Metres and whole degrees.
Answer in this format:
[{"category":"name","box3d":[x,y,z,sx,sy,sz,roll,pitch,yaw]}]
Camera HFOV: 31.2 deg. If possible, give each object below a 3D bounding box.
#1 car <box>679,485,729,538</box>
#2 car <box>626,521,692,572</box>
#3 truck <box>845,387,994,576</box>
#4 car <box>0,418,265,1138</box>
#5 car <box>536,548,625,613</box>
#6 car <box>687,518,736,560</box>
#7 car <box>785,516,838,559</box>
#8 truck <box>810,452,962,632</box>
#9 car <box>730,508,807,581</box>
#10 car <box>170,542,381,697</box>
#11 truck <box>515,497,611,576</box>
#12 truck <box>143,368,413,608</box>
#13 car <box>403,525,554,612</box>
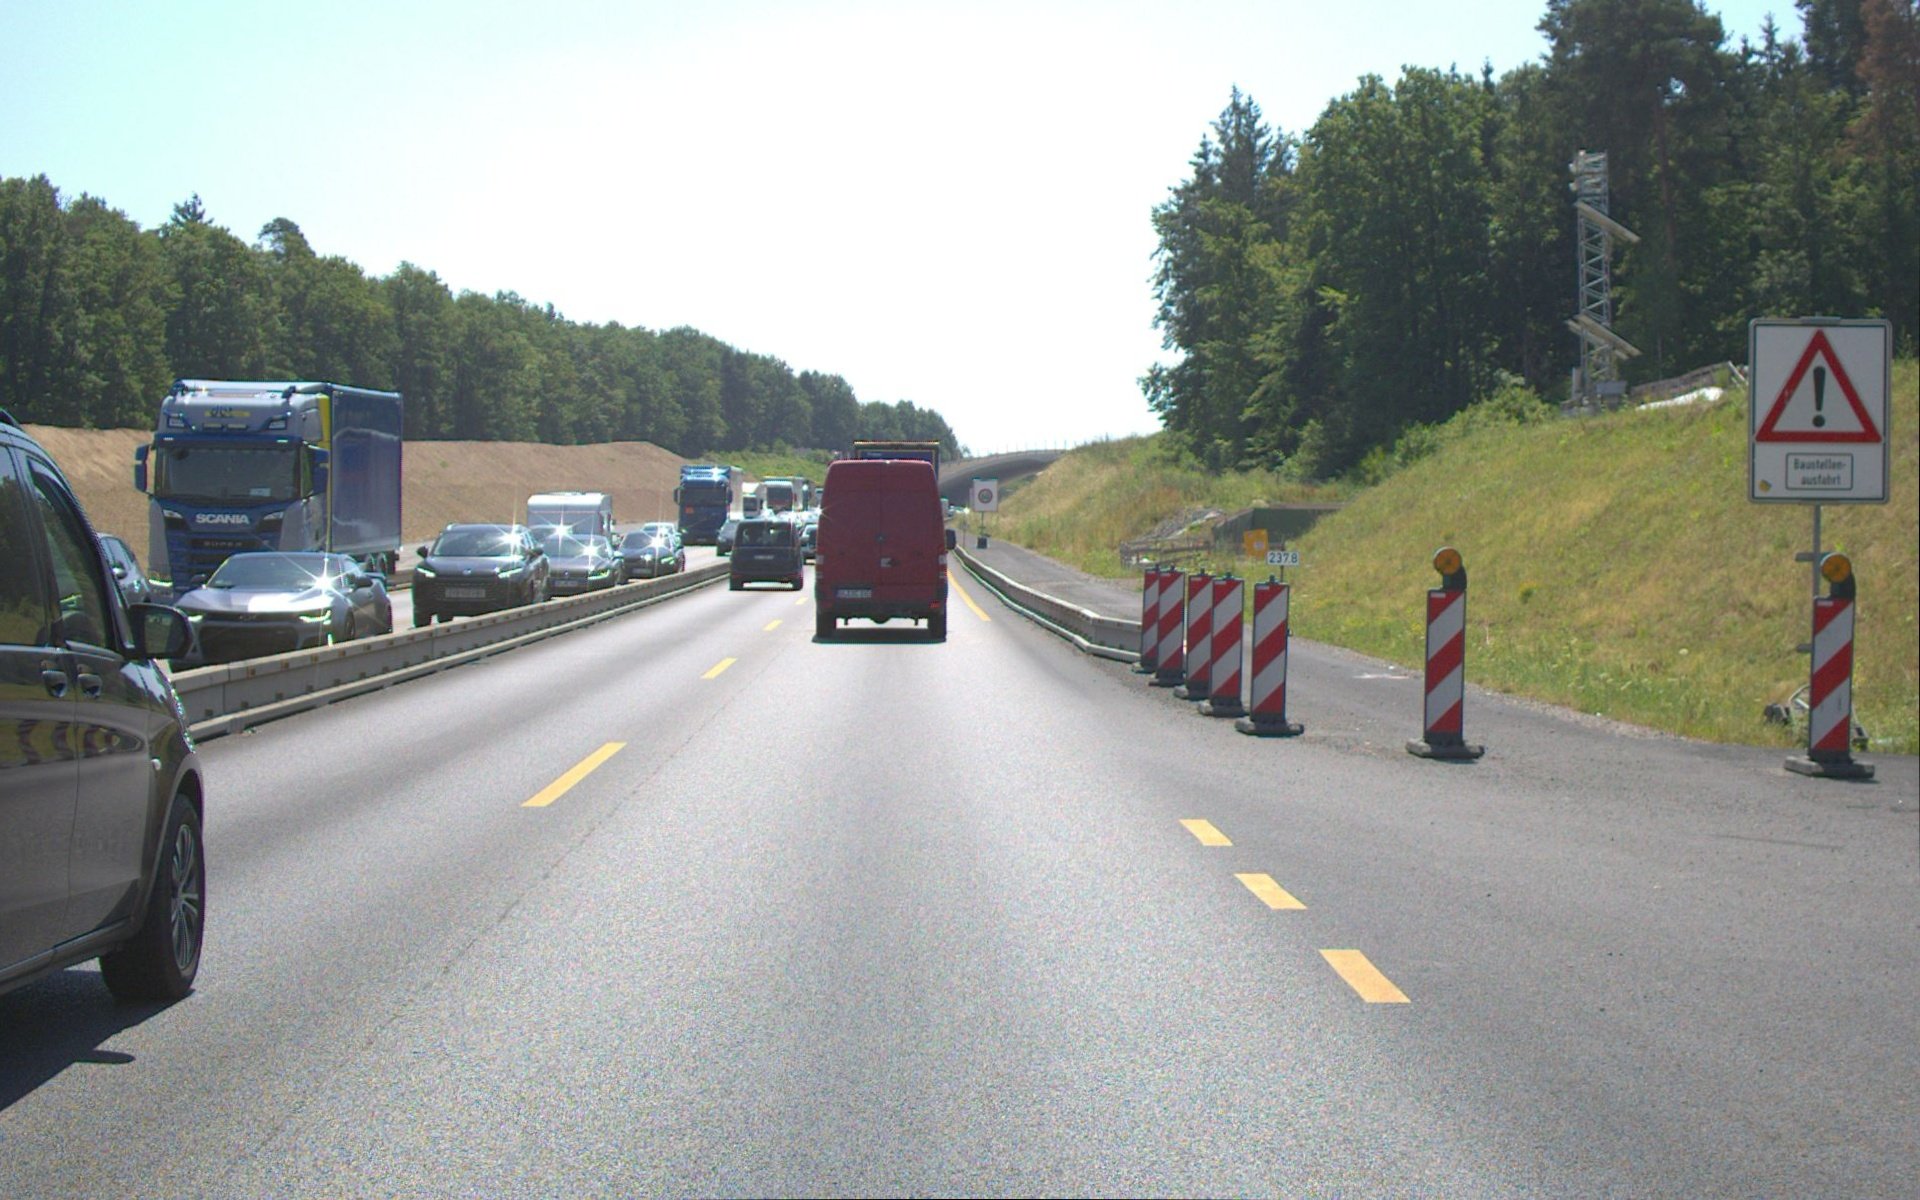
[{"category":"car","box3d":[-13.069,-4.513,175.855,2.385,2.571,4.000,1,0,-2]},{"category":"car","box3d":[-8.242,-1.460,94.238,1.464,1.323,3.371,1,0,0]},{"category":"truck","box3d":[-1.327,-3.635,112.192,4.400,5.477,16.603,1,0,-1]},{"category":"car","box3d":[-3.395,0.436,9.528,1.874,1.845,5.479,1,1,-1]},{"category":"car","box3d":[-8.029,-0.392,72.939,1.464,1.323,3.371,1,0,0]},{"category":"car","box3d":[-10.587,-2.591,146.823,1.776,1.664,3.840,1,0,0]},{"category":"car","box3d":[-5.520,-2.311,128.376,1.831,1.517,3.961,1,0,-1]},{"category":"truck","box3d":[-1.167,-0.839,52.516,2.153,2.581,5.333,1,0,-2]},{"category":"car","box3d":[-4.896,-1.428,88.587,1.751,1.818,4.783,1,1,-1]},{"category":"car","box3d":[-7.403,0.207,37.438,1.683,1.590,3.224,1,0,-1]},{"category":"truck","box3d":[-12.505,-1.965,108.655,2.400,2.350,5.227,1,0,0]},{"category":"truck","box3d":[-11.114,-1.692,56.975,2.509,3.605,9.641,1,0,0]},{"category":"car","box3d":[-7.776,-0.492,55.832,1.841,1.323,3.942,1,0,0]}]
